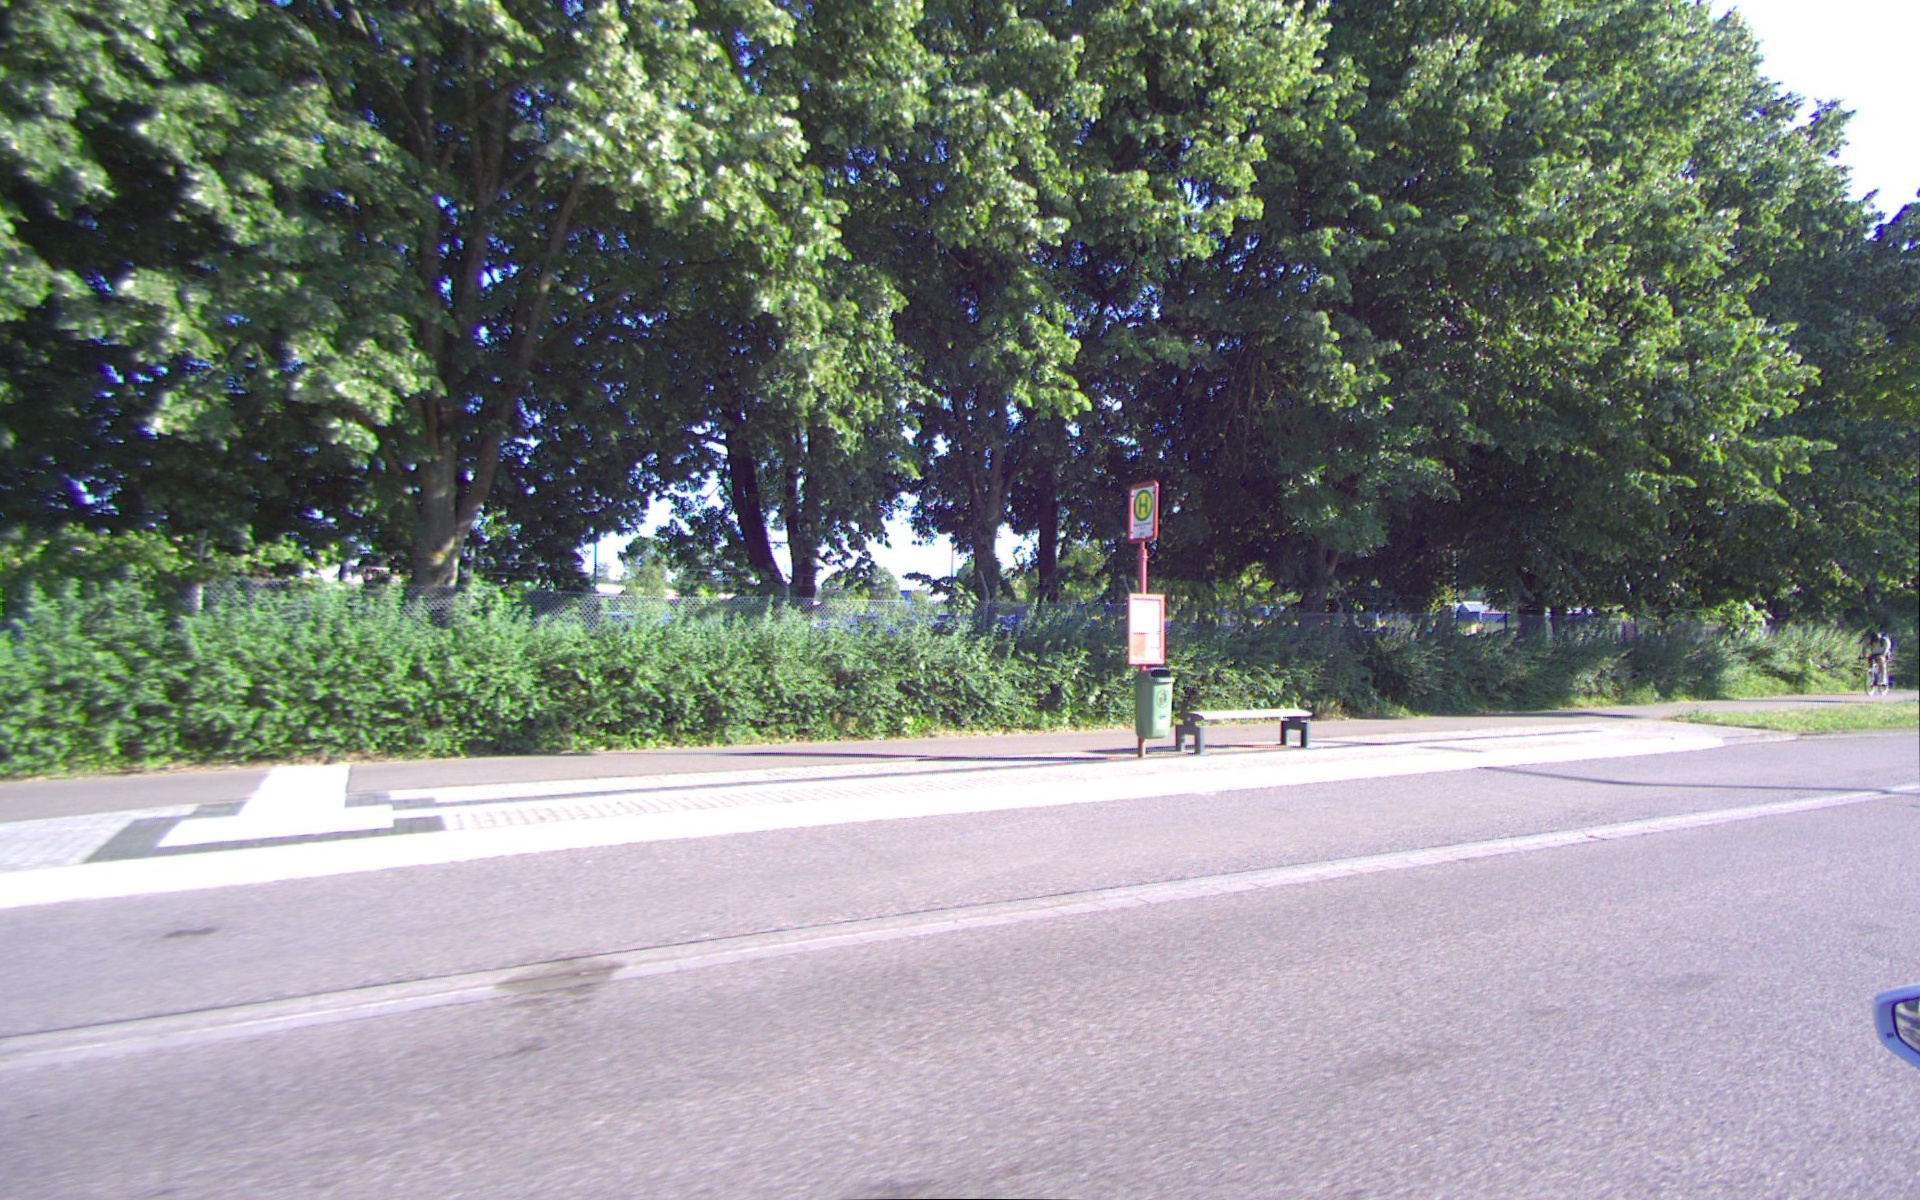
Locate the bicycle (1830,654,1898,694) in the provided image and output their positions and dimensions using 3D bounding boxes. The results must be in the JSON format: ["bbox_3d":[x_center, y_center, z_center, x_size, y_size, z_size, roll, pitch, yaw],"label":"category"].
[{"bbox_3d":[24.794,2.005,27.533,2.192,1.053,0.762,2,-3,-31],"label":"bicycle"}]

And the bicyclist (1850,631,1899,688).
[{"bbox_3d":[25.057,1.621,27.515,0.940,1.550,0.727,2,-2,-31],"label":"bicyclist"}]
